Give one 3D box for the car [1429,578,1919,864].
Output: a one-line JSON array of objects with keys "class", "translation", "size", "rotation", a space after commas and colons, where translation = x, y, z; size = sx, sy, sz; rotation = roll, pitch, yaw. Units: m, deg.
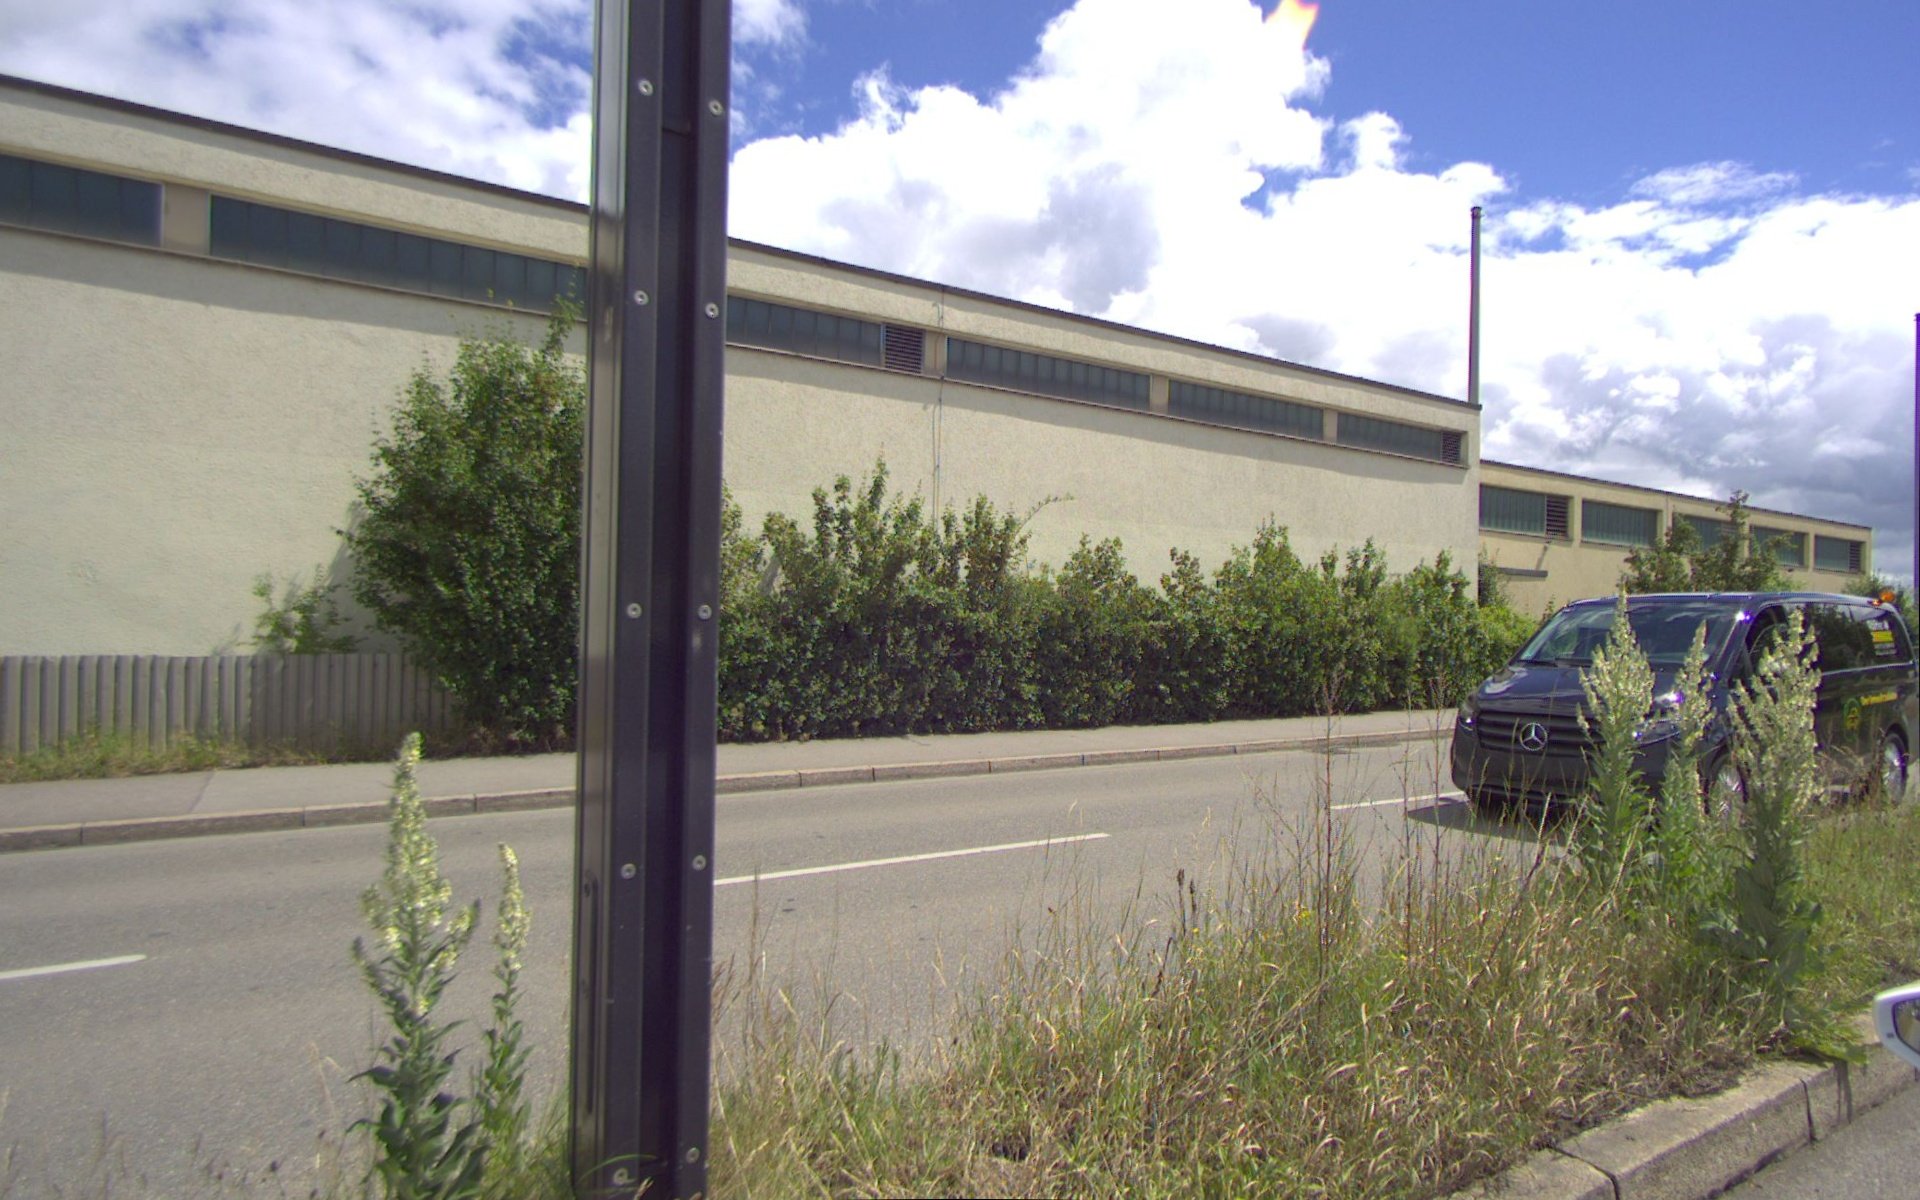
[{"class": "car", "translation": [6.478, 0.847, 8.872], "size": [4.815, 1.913, 1.982], "rotation": [1, -1, -33]}]
